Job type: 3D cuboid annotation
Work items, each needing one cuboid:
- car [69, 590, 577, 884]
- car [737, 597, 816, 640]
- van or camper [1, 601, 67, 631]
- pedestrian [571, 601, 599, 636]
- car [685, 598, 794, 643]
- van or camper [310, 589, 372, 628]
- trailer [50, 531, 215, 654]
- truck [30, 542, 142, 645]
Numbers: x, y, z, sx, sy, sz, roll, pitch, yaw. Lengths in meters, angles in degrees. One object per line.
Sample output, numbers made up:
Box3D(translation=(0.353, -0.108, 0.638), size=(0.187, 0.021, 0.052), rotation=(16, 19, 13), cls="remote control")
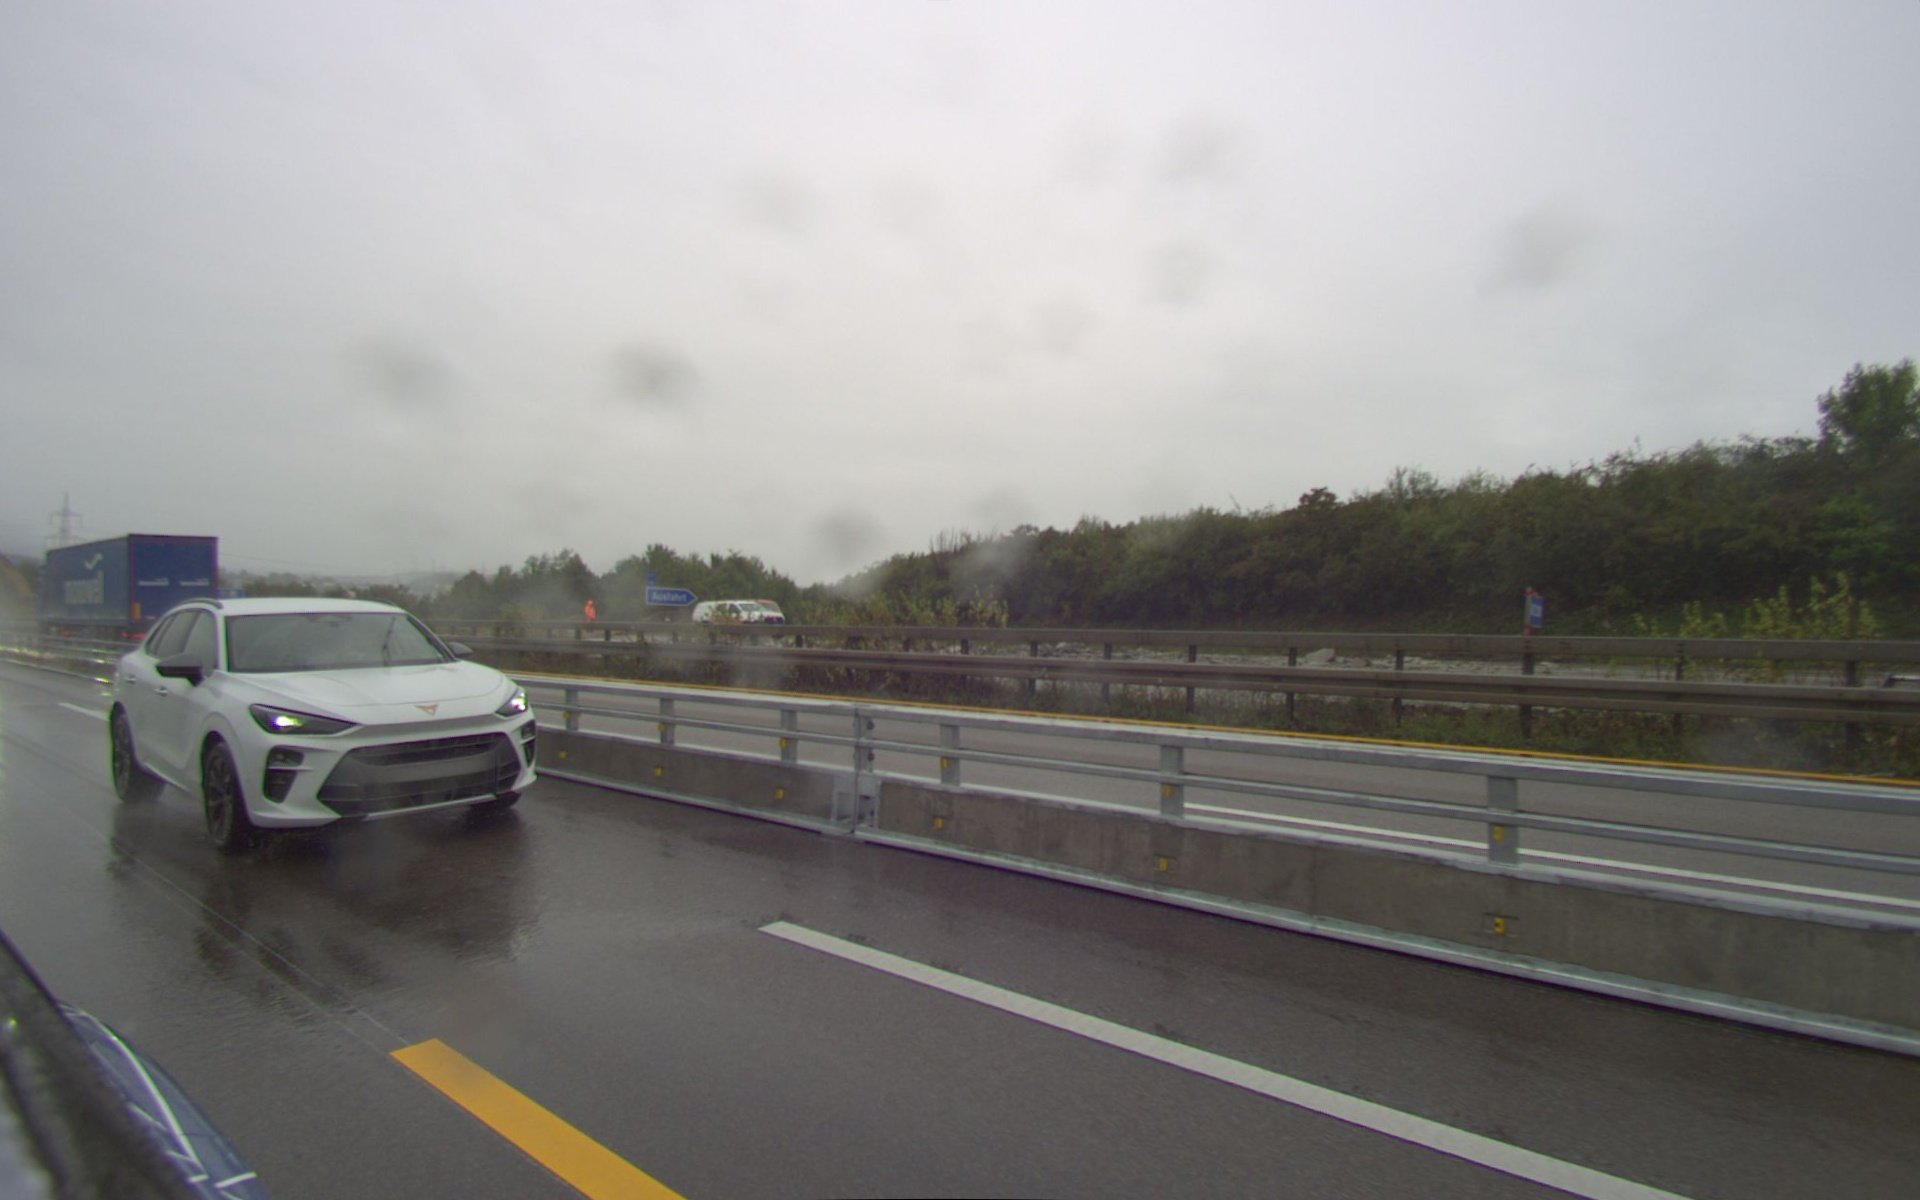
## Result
Box3D(translation=(-5.107, 0.761, 7.762), size=(5.003, 1.562, 1.908), rotation=(-1, -1, 41), cls="car")
Box3D(translation=(-9.645, 0.947, 52.735), size=(2.330, 2.092, 5.595), rotation=(0, -1, -30), cls="car")
Box3D(translation=(-113.233, 1.924, 123.830), size=(3.371, 3.370, 5.359), rotation=(-1, 1, 36), cls="van or camper")
Box3D(translation=(-22.120, 1.080, 59.684), size=(1.124, 2.029, 1.095), rotation=(-1, 0, 37), cls="pedestrian")
Box3D(translation=(-10.331, 0.925, 47.209), size=(5.359, 1.981, 2.073), rotation=(-1, -1, 39), cls="car")
Box3D(translation=(-71.931, 0.980, 117.497), size=(8.495, 4.356, 3.335), rotation=(-1, 1, 38), cls="van or camper")
Box3D(translation=(-31.959, -0.220, 38.775), size=(12.420, 4.108, 2.574), rotation=(-1, 0, 40), cls="trailer")
Box3D(translation=(-37.463, -0.202, 43.308), size=(6.663, 4.113, 2.597), rotation=(-1, -1, 40), cls="truck")
